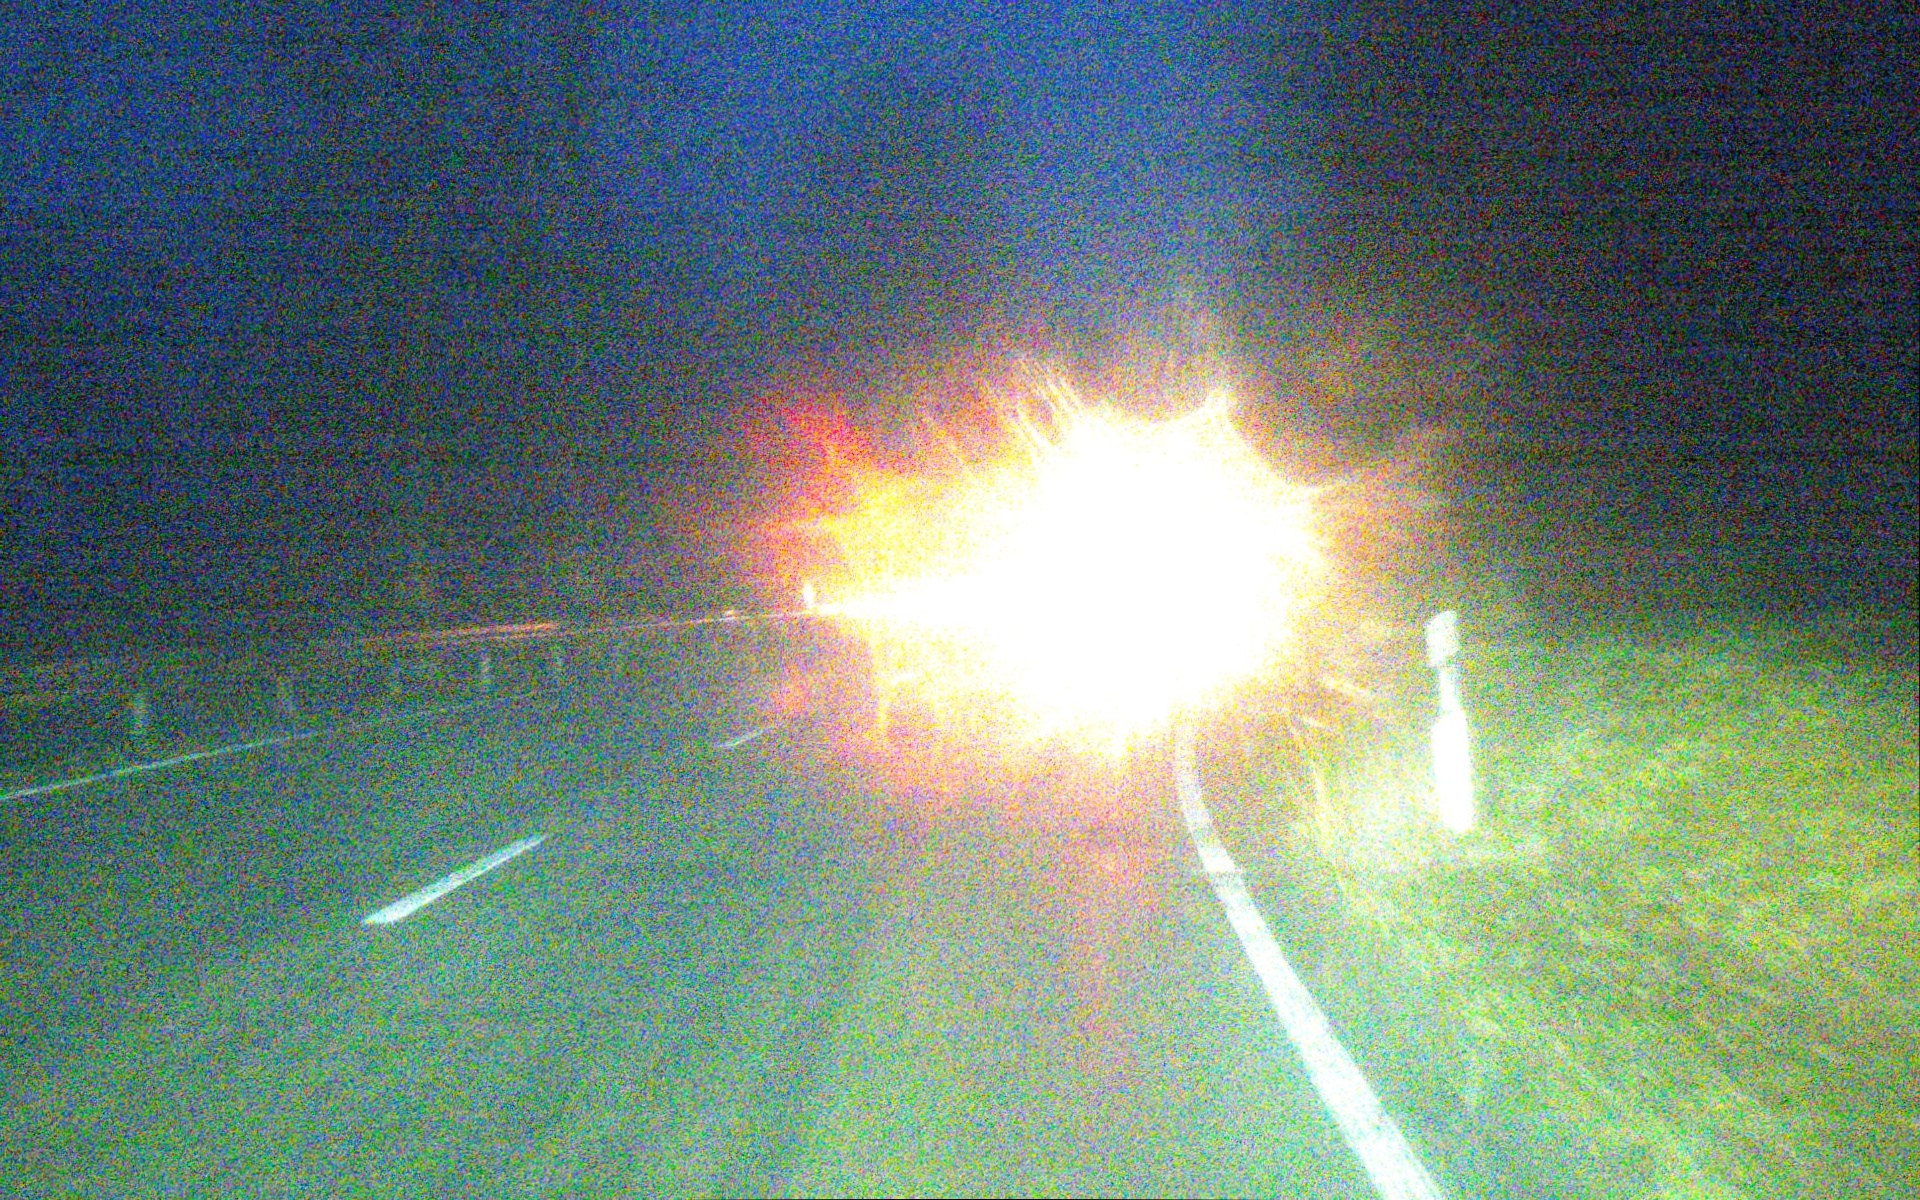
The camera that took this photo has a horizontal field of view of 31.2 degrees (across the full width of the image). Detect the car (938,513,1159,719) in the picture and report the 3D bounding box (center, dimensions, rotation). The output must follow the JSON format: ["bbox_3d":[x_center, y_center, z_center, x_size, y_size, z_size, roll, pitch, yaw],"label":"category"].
[{"bbox_3d":[0.893,0.101,34.464,1.993,1.800,3.917,-3,2,2],"label":"car"}]
